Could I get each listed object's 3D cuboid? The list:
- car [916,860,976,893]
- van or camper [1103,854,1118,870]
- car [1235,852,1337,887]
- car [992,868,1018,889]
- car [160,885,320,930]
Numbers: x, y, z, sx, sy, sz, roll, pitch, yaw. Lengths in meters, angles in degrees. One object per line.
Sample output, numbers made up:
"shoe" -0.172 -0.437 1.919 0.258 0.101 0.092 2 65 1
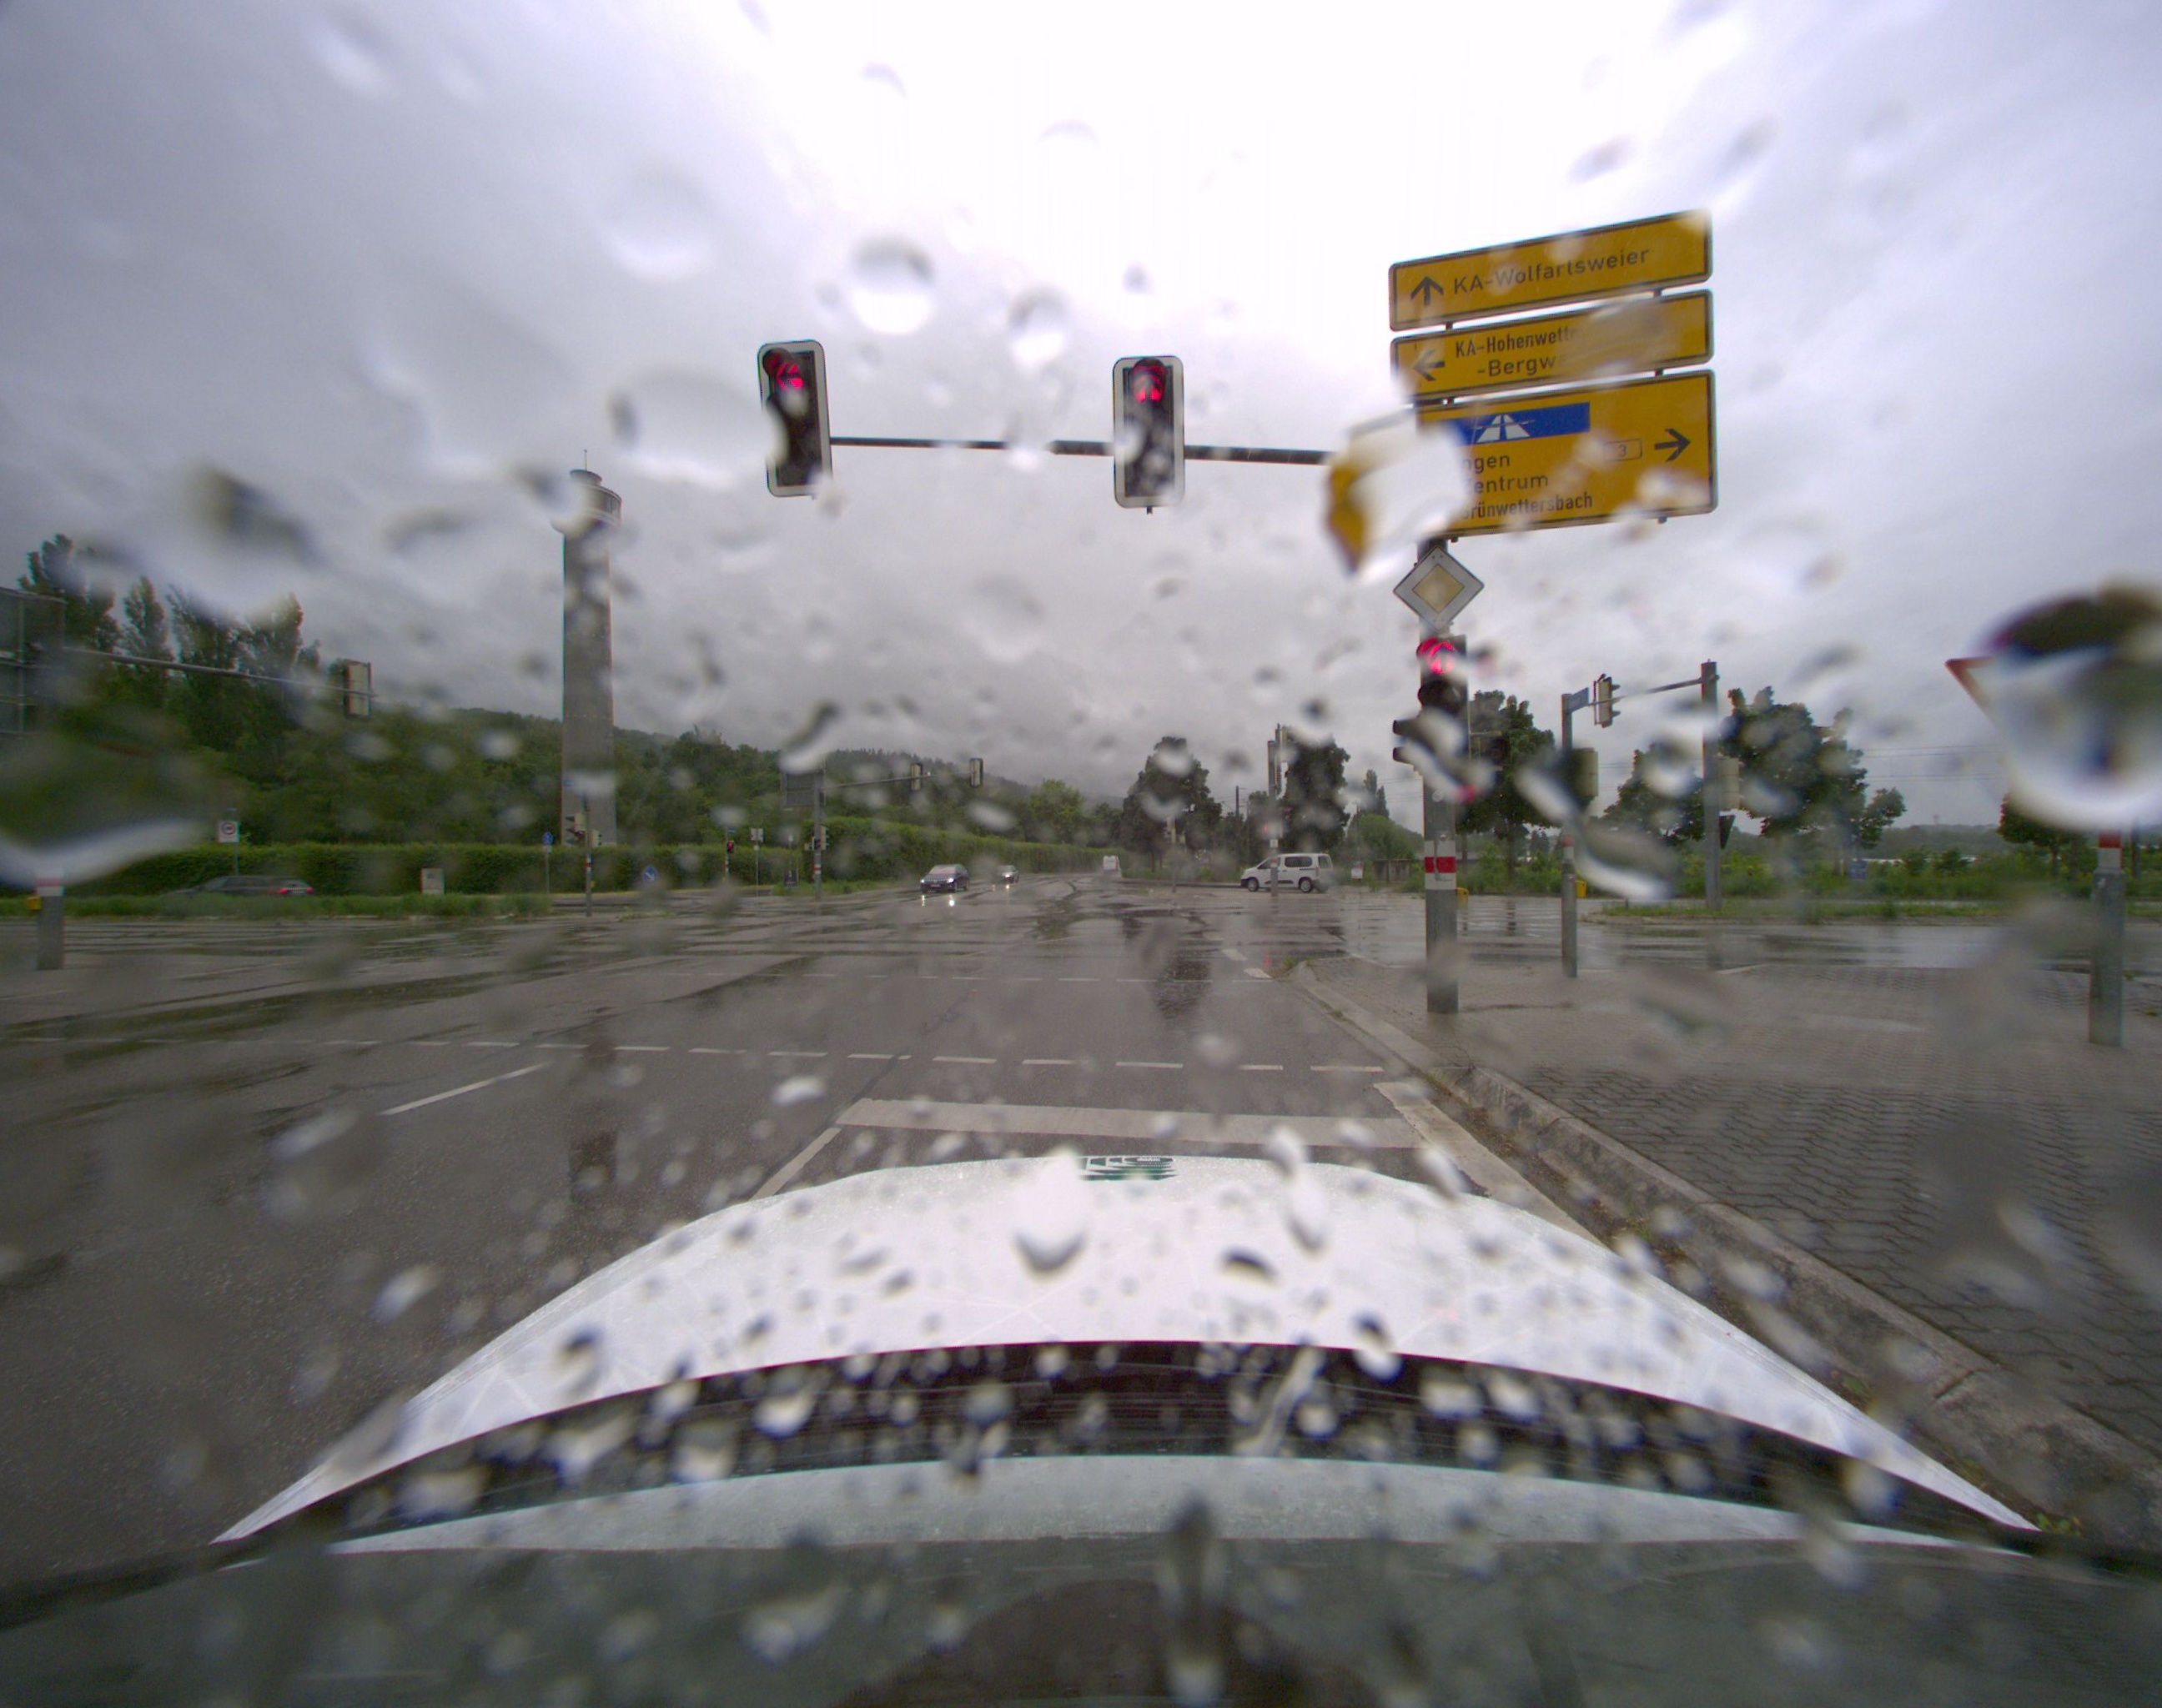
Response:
"car" -7.225 1.189 44.046 1.869 1.573 4.654 -3 0 7
"van or camper" 4.362 1.149 120.561 2.145 2.169 4.867 -1 0 2
"car" 9.626 0.722 38.446 4.293 1.553 1.834 -1 0 42
"car" -5.896 1.879 63.353 1.552 1.481 3.363 -1 0 2
"car" -32.482 2.035 31.531 4.644 1.553 1.826 -1 0 7
